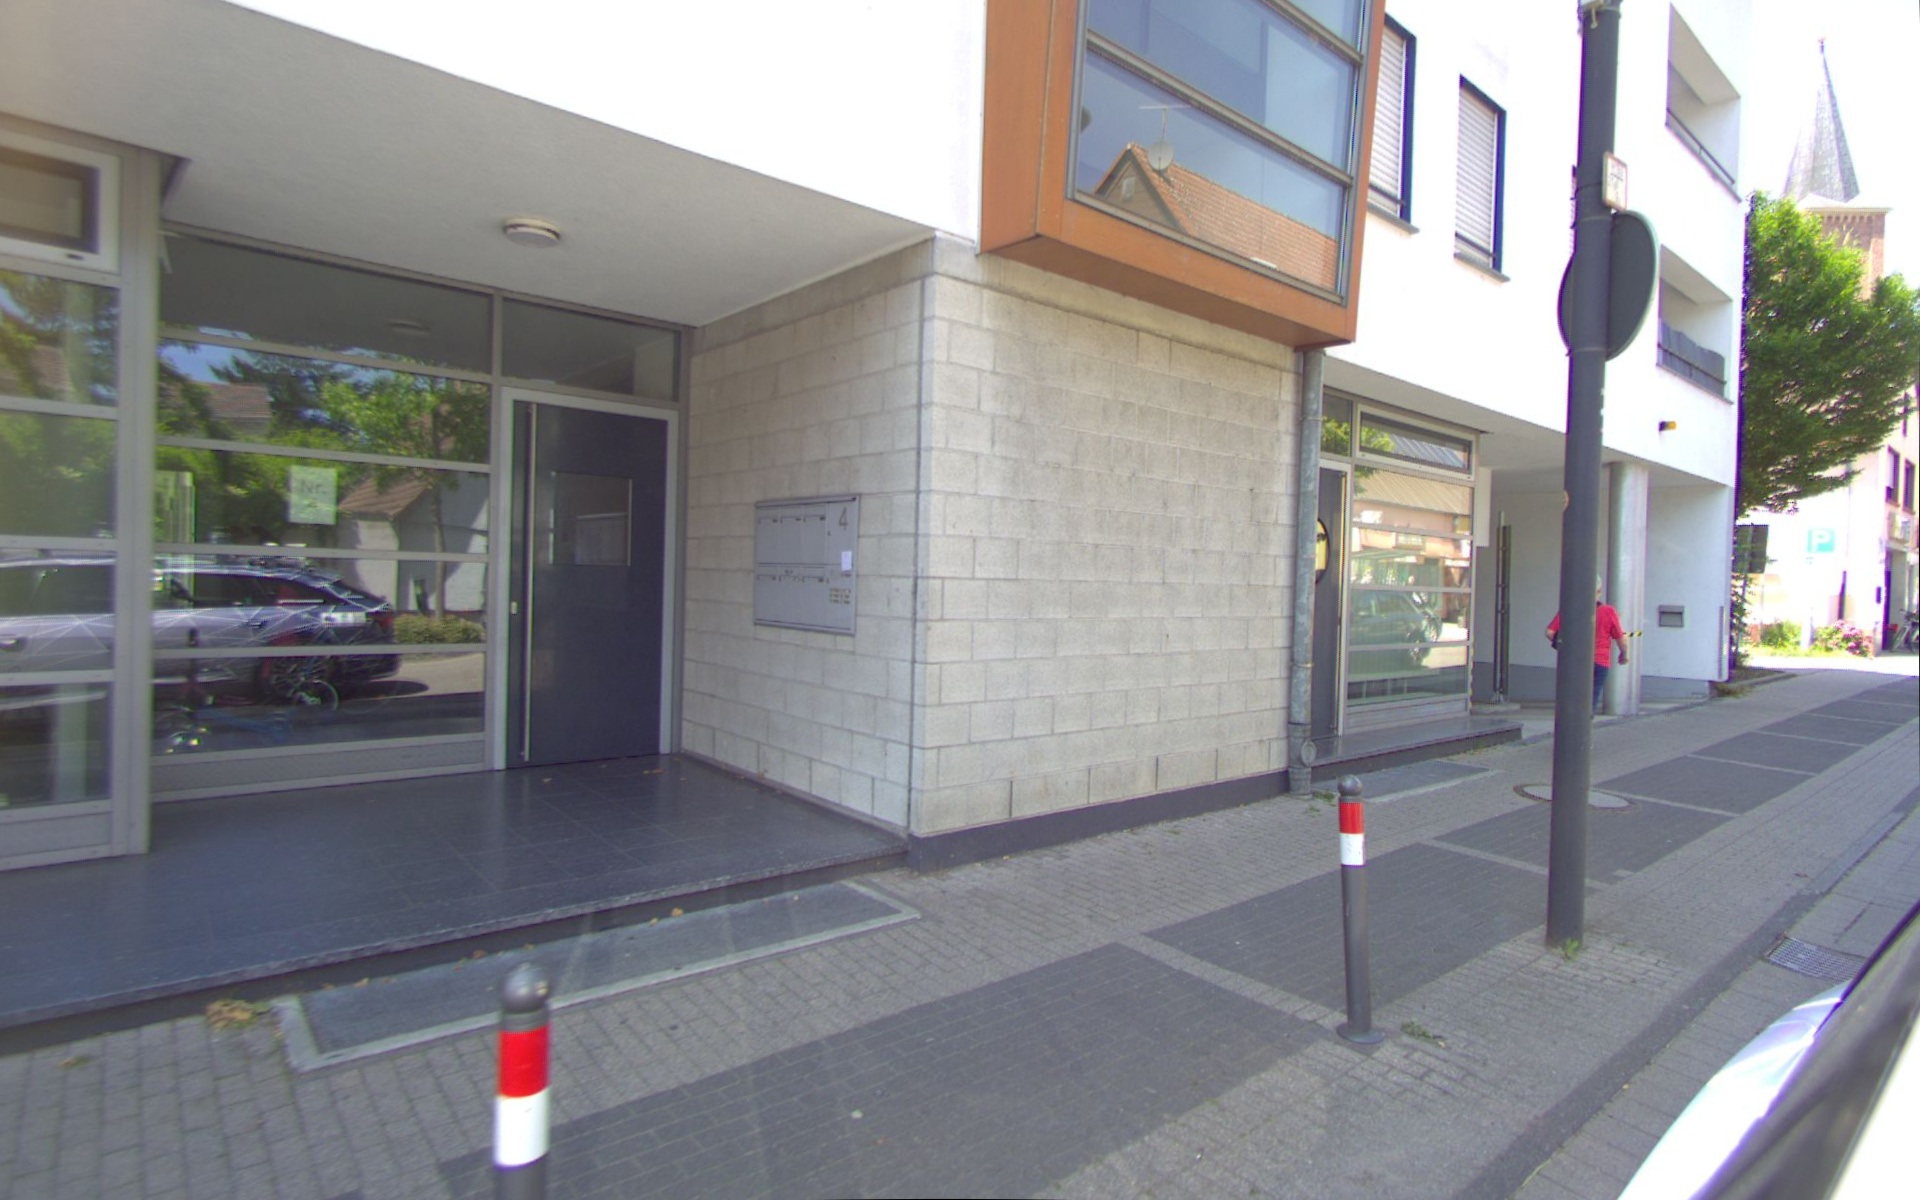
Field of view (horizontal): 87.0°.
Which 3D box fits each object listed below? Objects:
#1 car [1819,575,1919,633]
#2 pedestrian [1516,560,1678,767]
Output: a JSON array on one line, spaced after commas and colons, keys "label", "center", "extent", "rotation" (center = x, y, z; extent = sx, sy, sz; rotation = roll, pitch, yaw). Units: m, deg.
[{"label": "car", "center": [32.827, 0.160, 35.199], "extent": [1.965, 1.882, 4.202], "rotation": [0, 3, -40]}, {"label": "pedestrian", "center": [5.430, 0.495, 8.637], "extent": [0.903, 1.607, 0.826], "rotation": [0, 4, -40]}]
